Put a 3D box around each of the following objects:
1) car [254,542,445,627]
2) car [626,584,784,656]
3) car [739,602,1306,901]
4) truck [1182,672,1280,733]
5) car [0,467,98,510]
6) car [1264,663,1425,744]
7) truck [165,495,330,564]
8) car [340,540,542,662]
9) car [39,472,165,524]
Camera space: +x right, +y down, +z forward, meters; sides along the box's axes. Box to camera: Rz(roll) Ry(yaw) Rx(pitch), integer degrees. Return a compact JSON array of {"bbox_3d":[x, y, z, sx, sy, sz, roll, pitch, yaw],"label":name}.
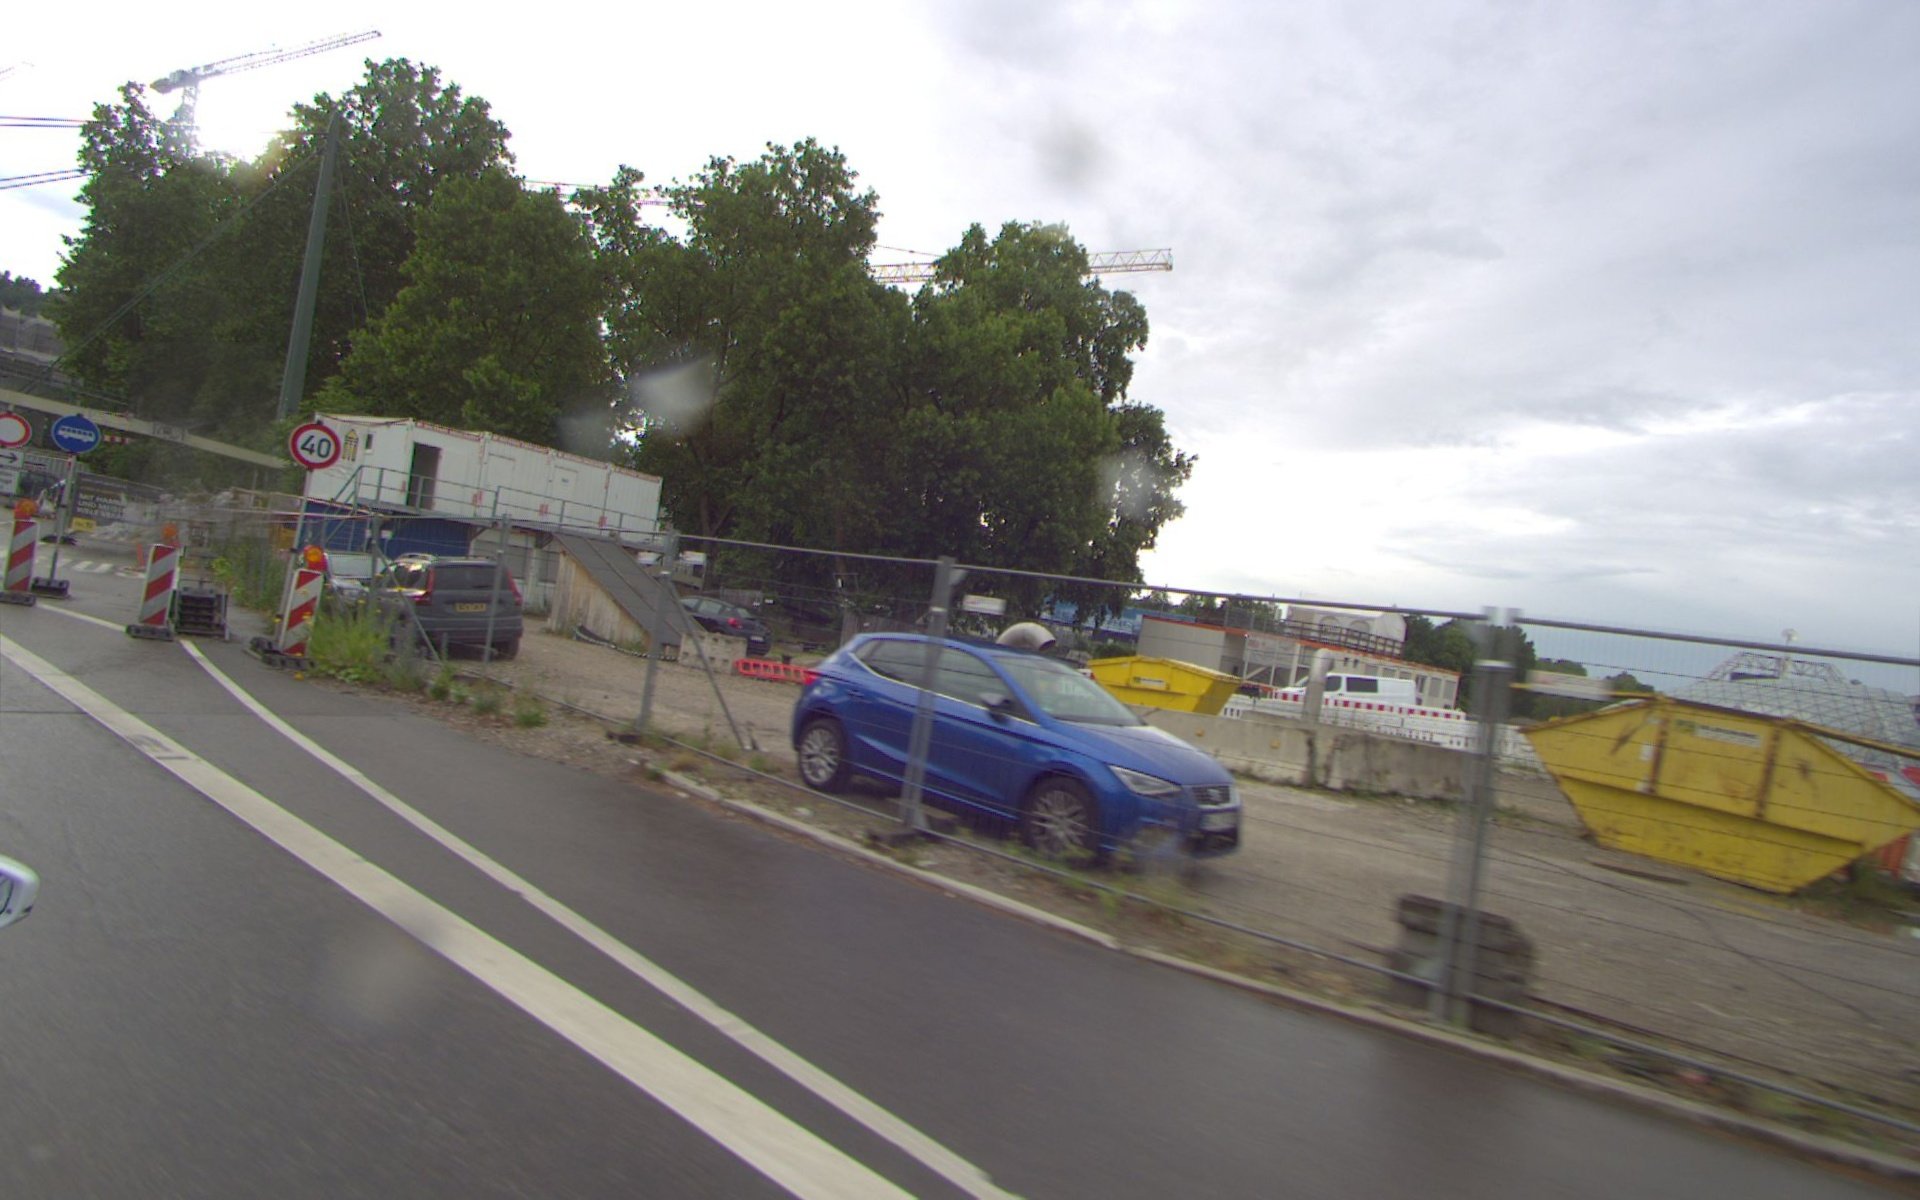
[{"bbox_3d":[-13.306,-0.340,21.888,3.934,1.503,1.853,4,-1,31],"label":"car"},{"bbox_3d":[-6.833,0.533,26.870,3.933,1.321,1.716,7,-2,31],"label":"car"},{"bbox_3d":[0.312,1.063,8.356,4.351,1.457,1.832,7,-3,41],"label":"car"},{"bbox_3d":[12.737,4.835,47.000,2.374,2.073,5.558,8,-4,37],"label":"truck"},{"bbox_3d":[-56.068,-6.842,61.651,1.759,1.648,4.547,10,0,35],"label":"car"},{"bbox_3d":[14.613,3.908,38.419,5.168,2.308,1.953,7,2,-4],"label":"car"},{"bbox_3d":[-30.734,-2.988,43.560,2.369,2.037,5.163,7,-1,31],"label":"truck"},{"bbox_3d":[-9.137,-0.040,17.514,1.914,1.672,4.357,2,4,-44],"label":"car"},{"bbox_3d":[-44.958,-5.309,52.798,1.967,1.748,4.507,9,-1,33],"label":"car"}]
